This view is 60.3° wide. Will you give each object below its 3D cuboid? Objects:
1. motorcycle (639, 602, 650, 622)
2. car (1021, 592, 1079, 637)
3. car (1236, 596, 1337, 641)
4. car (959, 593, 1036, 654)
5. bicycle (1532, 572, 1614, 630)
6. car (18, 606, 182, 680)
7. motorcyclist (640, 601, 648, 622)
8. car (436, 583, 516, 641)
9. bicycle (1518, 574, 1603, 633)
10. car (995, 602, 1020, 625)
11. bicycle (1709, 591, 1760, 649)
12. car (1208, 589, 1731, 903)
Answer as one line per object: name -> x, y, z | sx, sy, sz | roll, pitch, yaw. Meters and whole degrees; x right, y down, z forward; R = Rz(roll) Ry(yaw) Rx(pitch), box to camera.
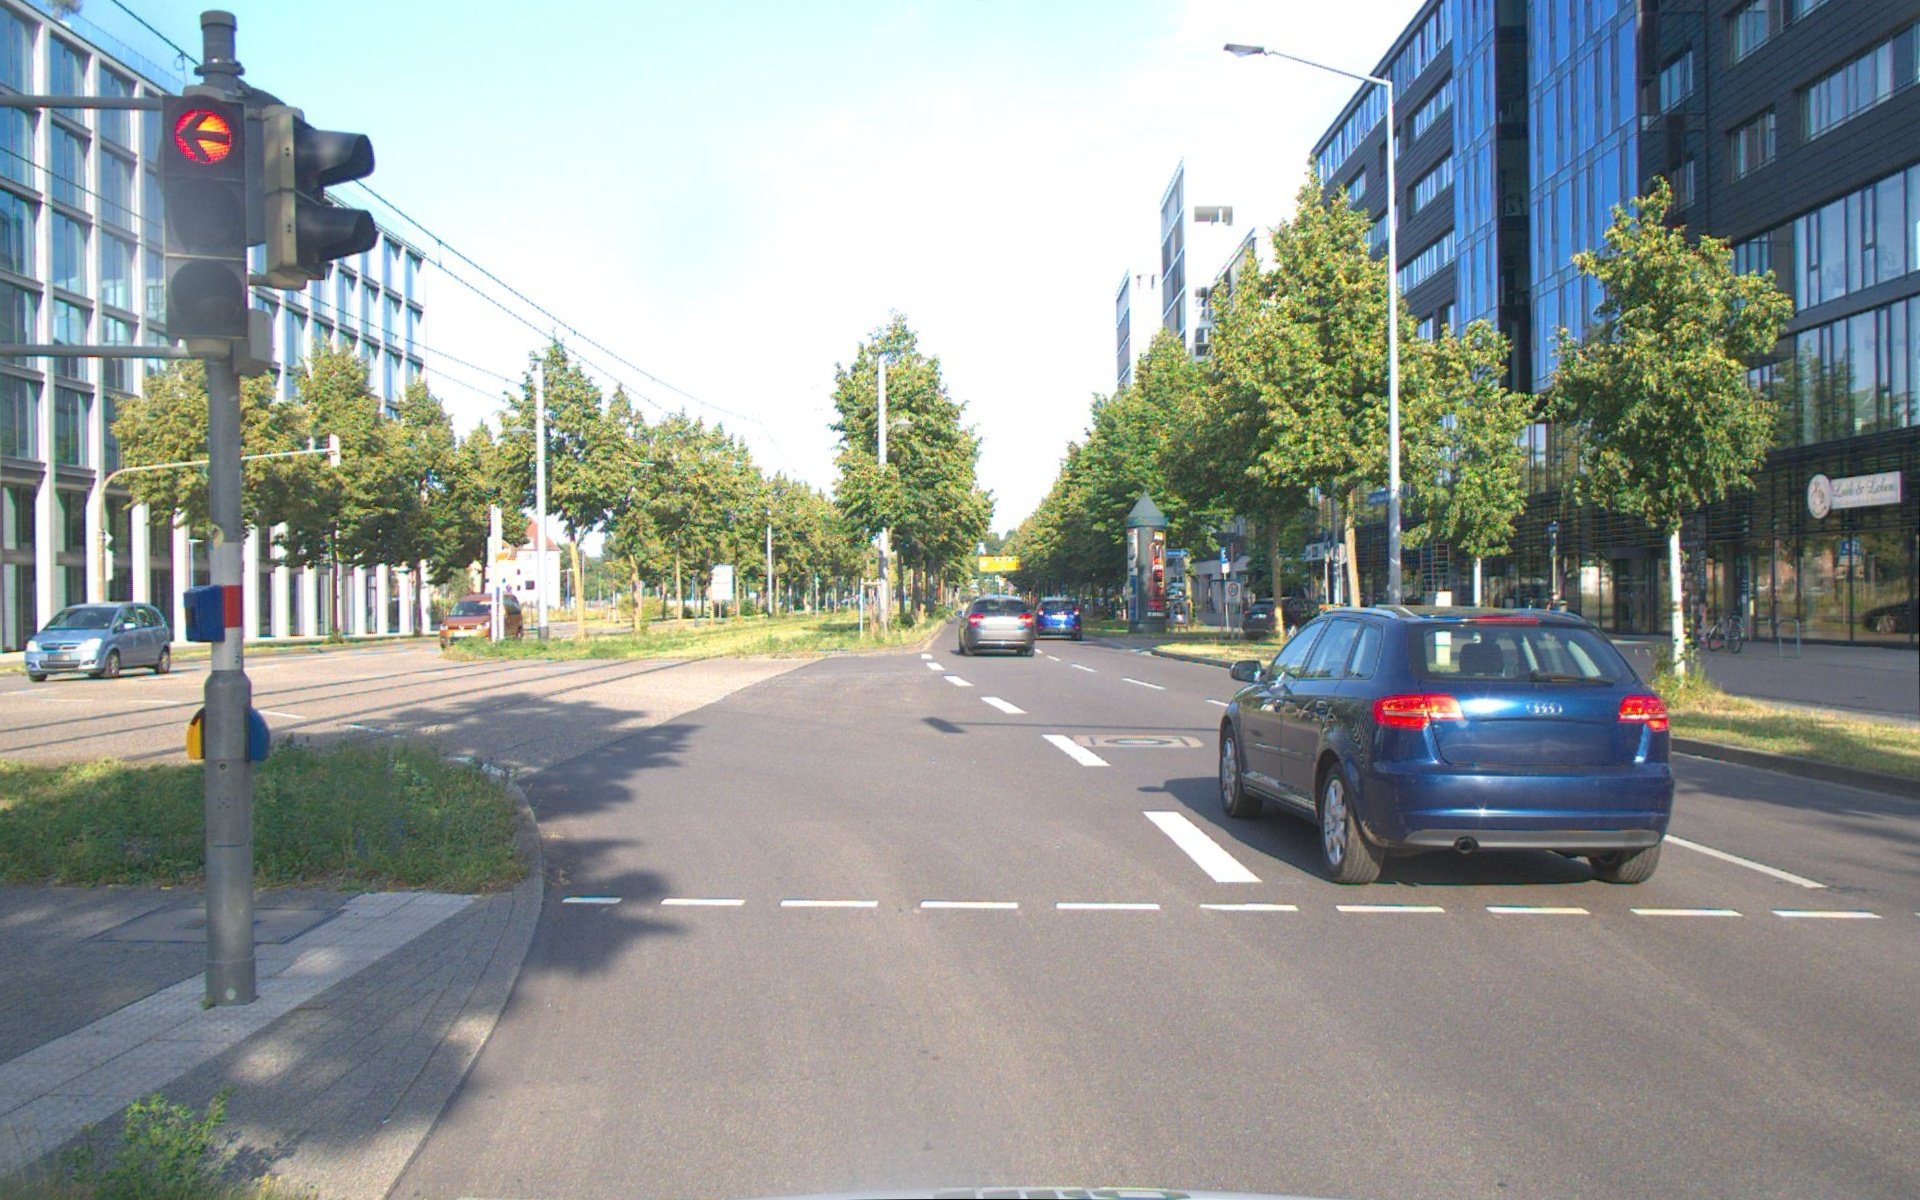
motorcycle -> -24.296, 0.902, 127.379 | 0.464, 1.557, 1.992 | 1, 0, -1
car -> 3.122, 0.476, 57.765 | 1.529, 1.449, 3.904 | 1, 1, -4
car -> 10.996, 0.629, 55.567 | 1.745, 1.449, 3.943 | 1, 0, 37
car -> 0.893, 0.573, 41.699 | 1.660, 1.449, 4.037 | 1, 0, -2
bicycle -> 19.561, 0.027, 52.781 | 2.383, 1.776, 0.554 | 1, -1, 10
car -> -18.356, 0.876, 35.489 | 1.606, 1.468, 3.953 | 1, 0, -3
motorcyclist -> -24.311, 0.891, 127.360 | 0.476, 1.592, 0.455 | 1, -1, -1
car -> -15.824, 0.376, 54.276 | 1.650, 1.806, 3.880 | 1, 0, -3
bicycle -> 19.482, 0.109, 53.655 | 2.510, 1.890, 0.570 | 1, -1, 10
car -> 3.799, 1.101, 133.381 | 1.788, 1.817, 3.999 | 1, 0, -1
bicycle -> 18.663, 0.483, 39.880 | 0.365, 1.370, 1.894 | 1, -1, 1
car -> 2.716, 0.699, 9.823 | 1.716, 1.460, 4.033 | 1, 0, -2
